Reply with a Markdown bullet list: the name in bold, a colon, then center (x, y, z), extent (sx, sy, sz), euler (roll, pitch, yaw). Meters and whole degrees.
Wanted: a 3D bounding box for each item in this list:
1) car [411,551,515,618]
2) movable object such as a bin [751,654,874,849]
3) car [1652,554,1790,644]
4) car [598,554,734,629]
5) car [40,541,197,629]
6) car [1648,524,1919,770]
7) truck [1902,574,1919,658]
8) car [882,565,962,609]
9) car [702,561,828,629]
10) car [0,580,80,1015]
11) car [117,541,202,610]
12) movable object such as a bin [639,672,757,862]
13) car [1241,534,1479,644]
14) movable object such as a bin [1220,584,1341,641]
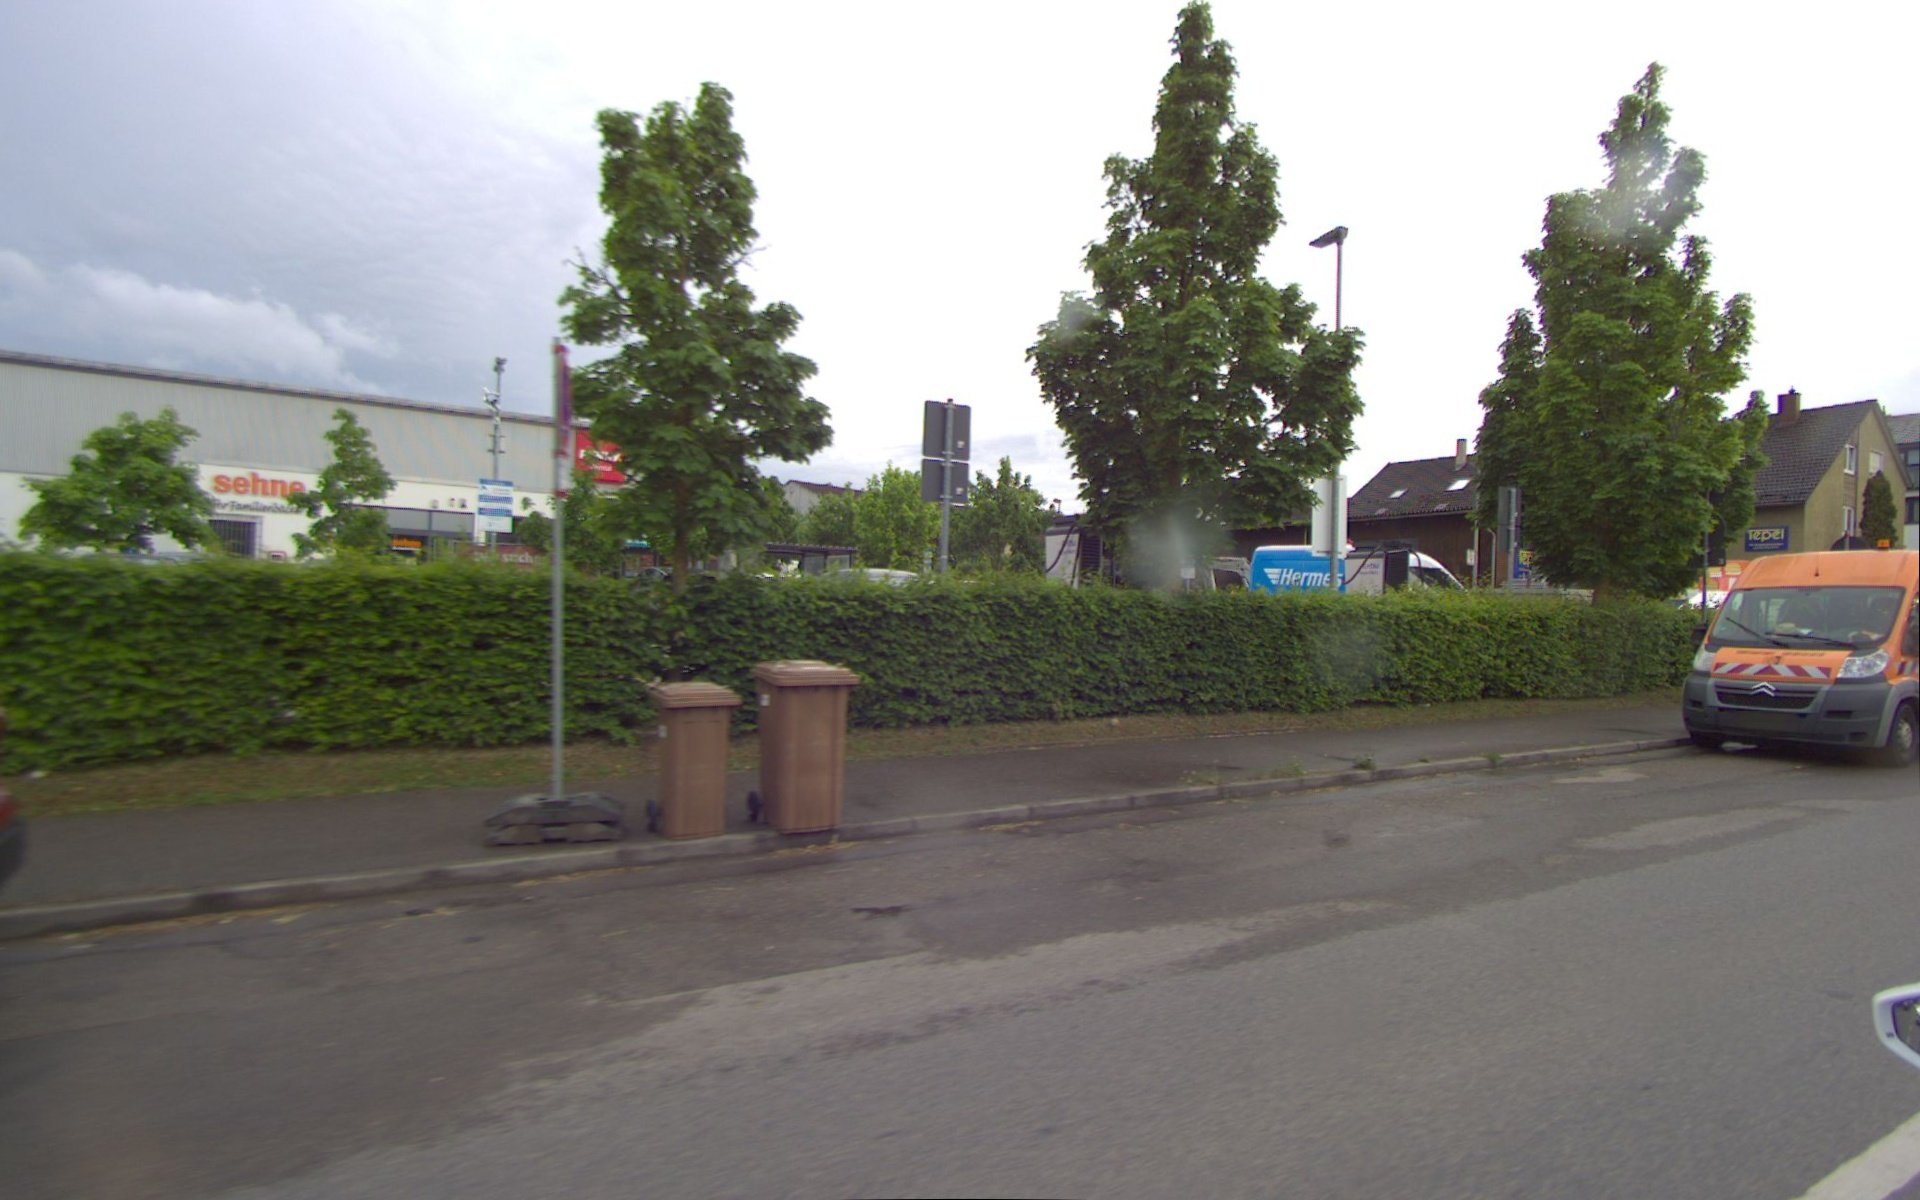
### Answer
- **car**: center (-13.317, -0.435, 26.816), extent (1.756, 1.628, 3.957), euler (2, 1, -37)
- **movable object such as a bin**: center (-1.004, 0.977, 6.746), extent (0.613, 1.173, 0.670), euler (2, 1, -26)
- **car**: center (27.549, -0.008, 36.327), extent (5.181, 3.054, 2.065), euler (2, 1, -30)
- **car**: center (-6.943, -0.232, 23.442), extent (1.867, 1.572, 4.028), euler (2, 1, -34)
- **car**: center (-15.168, -0.294, 18.302), extent (1.785, 1.406, 3.951), euler (2, 1, -34)
- **car**: center (11.548, 0.558, 12.967), extent (5.952, 2.571, 2.114), euler (1, -2, -31)
- **truck**: center (37.885, 0.691, 35.719), extent (2.420, 3.114, 5.884), euler (2, 1, -29)
- **car**: center (-2.200, -0.770, 56.971), extent (1.956, 2.270, 5.190), euler (2, 1, -35)
- **car**: center (-4.962, -0.157, 25.172), extent (1.677, 1.540, 3.864), euler (2, 1, -34)
- **car**: center (-5.445, 0.692, 2.739), extent (4.293, 1.594, 1.796), euler (1, 0, -31)
- **car**: center (-19.142, -0.582, 24.131), extent (1.441, 1.516, 3.861), euler (0, 1, -36)
- **movable object such as a bin**: center (-1.664, 1.024, 6.354), extent (0.612, 1.096, 0.489), euler (2, 1, -26)
- **car**: center (8.249, -0.238, 21.122), extent (2.038, 2.040, 4.285), euler (2, 1, -30)
- **movable object such as a bin**: center (10.994, 0.400, 34.597), extent (1.981, 1.783, 3.397), euler (2, 1, -36)
